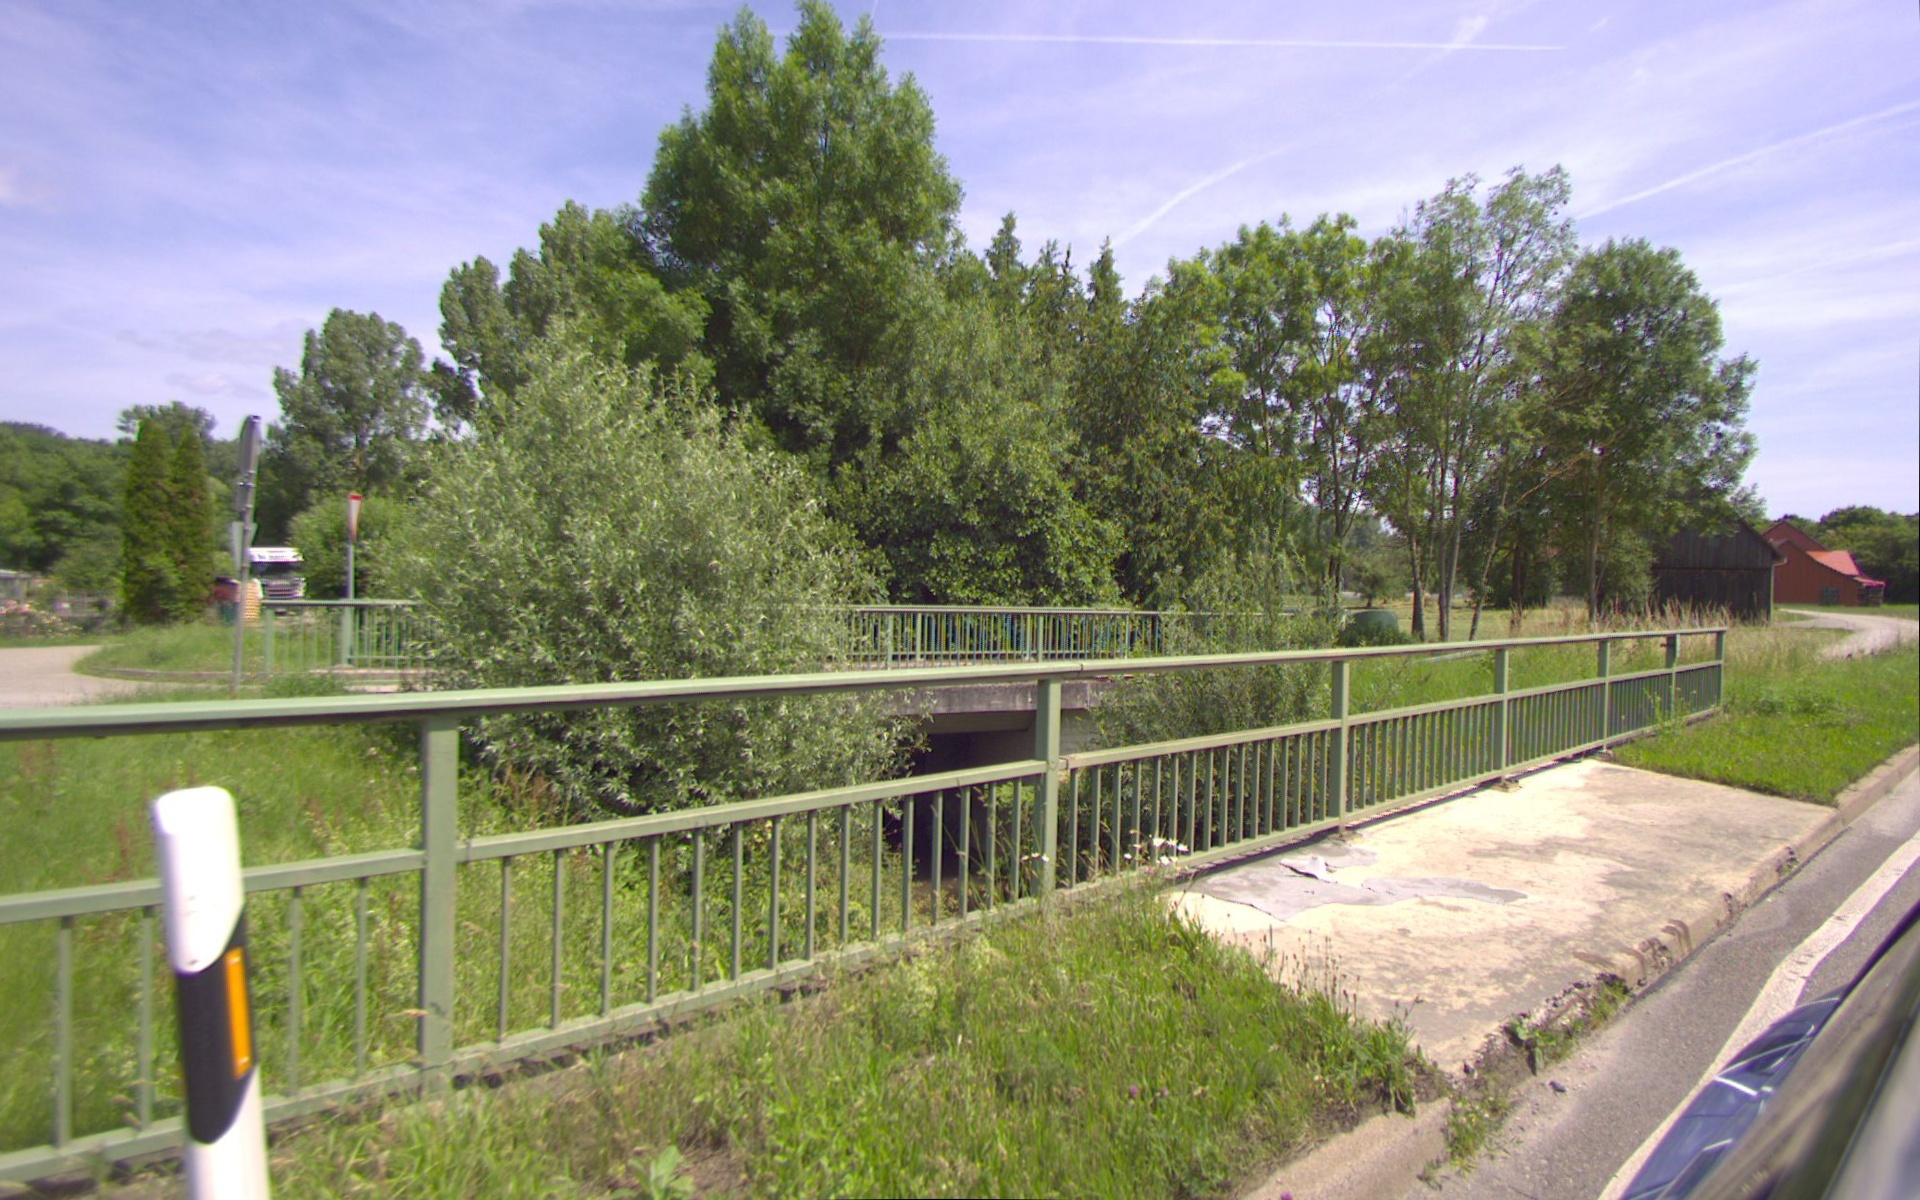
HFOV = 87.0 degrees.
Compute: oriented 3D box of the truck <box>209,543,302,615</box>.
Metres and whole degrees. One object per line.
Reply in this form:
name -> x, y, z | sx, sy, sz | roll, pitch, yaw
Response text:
truck -> -40.229, -1.230, 57.601 | 2.343, 3.742, 11.547 | 1, 1, -45
